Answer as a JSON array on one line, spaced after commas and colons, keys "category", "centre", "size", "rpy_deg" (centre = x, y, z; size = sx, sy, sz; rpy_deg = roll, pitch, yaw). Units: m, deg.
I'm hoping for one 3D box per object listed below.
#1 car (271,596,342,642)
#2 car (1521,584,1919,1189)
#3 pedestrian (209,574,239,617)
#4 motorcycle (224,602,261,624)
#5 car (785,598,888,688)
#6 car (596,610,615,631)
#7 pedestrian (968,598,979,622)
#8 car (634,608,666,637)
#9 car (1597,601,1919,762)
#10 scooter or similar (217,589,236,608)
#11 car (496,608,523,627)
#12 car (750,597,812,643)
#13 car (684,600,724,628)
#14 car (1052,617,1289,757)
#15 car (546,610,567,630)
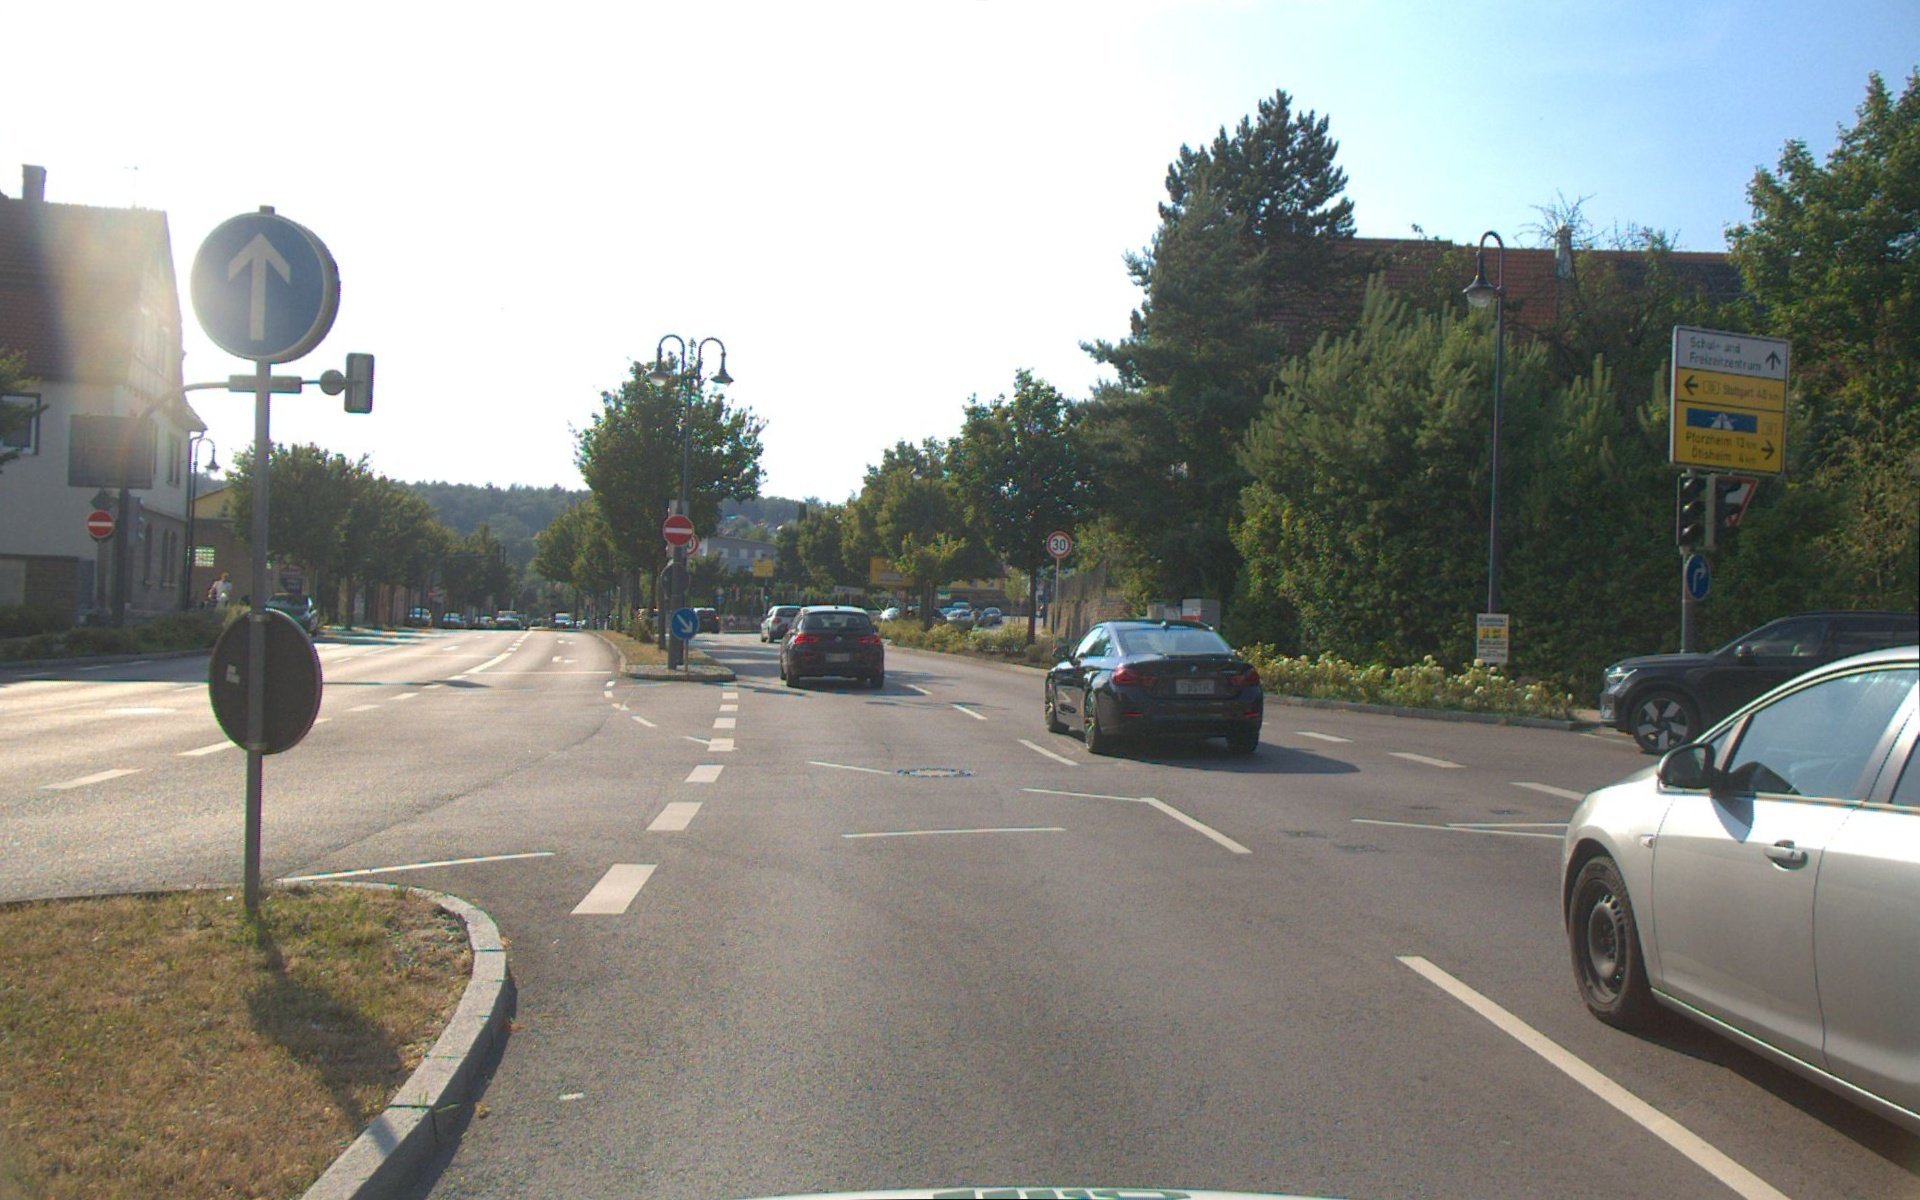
[{"category": "car", "centre": [-23.874, 0.673, 60.569], "size": [1.726, 1.479, 4.118], "rpy_deg": [5, -1, -14]}, {"category": "car", "centre": [3.239, 0.721, 4.780], "size": [1.686, 1.516, 4.305], "rpy_deg": [1, 0, -1]}, {"category": "pedestrian", "centre": [-24.864, -0.157, 55.871], "size": [0.799, 1.418, 0.704], "rpy_deg": [1, 0, -15]}, {"category": "motorcycle", "centre": [-35.934, 0.665, 82.806], "size": [0.505, 1.088, 1.870], "rpy_deg": [0, -1, 22]}, {"category": "car", "centre": [-2.374, 0.752, 30.827], "size": [1.688, 1.516, 4.346], "rpy_deg": [1, 0, -7]}, {"category": "car", "centre": [-35.860, 2.049, 167.353], "size": [1.740, 2.049, 3.991], "rpy_deg": [1, 0, -10]}, {"category": "pedestrian", "centre": [0.985, 0.749, 120.795], "size": [0.682, 1.732, 0.949], "rpy_deg": [1, -1, -6]}, {"category": "car", "centre": [-19.770, 1.399, 105.450], "size": [1.726, 1.800, 3.956], "rpy_deg": [1, 0, -14]}, {"category": "car", "centre": [9.396, 0.841, 18.126], "size": [4.188, 1.594, 1.784], "rpy_deg": [1, 0, 38]}, {"category": "scooter or similar", "centre": [-24.334, -0.050, 54.877], "size": [0.436, 0.592, 1.039], "rpy_deg": [1, 0, -15]}, {"category": "car", "centre": [-32.579, 1.249, 119.651], "size": [1.726, 1.385, 4.469], "rpy_deg": [1, 0, -13]}, {"category": "car", "centre": [-7.302, 0.802, 67.194], "size": [1.893, 1.800, 4.437], "rpy_deg": [1, 0, -14]}, {"category": "car", "centre": [-16.736, 0.903, 108.001], "size": [2.179, 1.800, 4.437], "rpy_deg": [1, 0, -14]}, {"category": "car", "centre": [2.233, 0.893, 18.740], "size": [1.882, 1.388, 4.349], "rpy_deg": [1, -1, -4]}, {"category": "car", "centre": [-35.178, 1.711, 144.304], "size": [1.700, 1.708, 3.987], "rpy_deg": [1, 0, -13]}]
